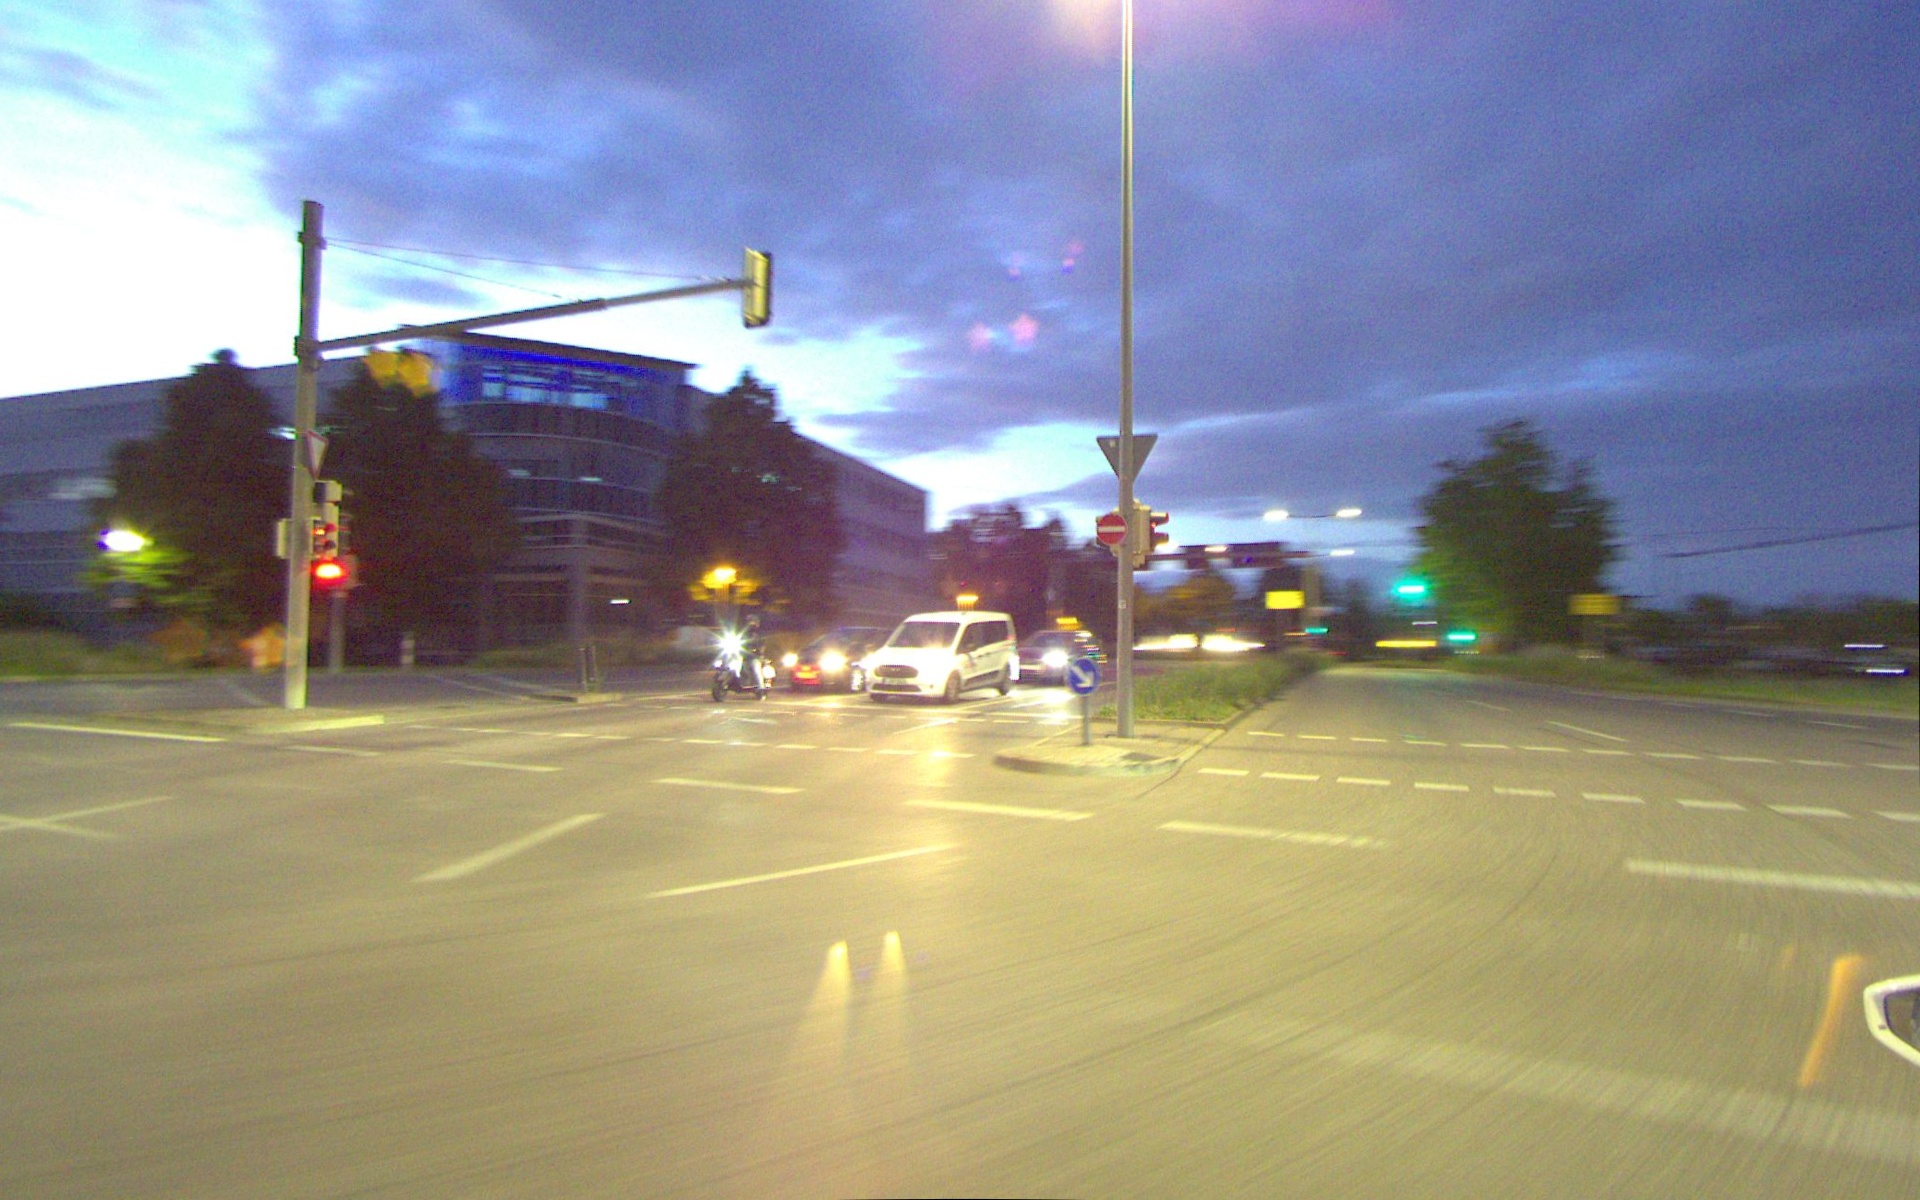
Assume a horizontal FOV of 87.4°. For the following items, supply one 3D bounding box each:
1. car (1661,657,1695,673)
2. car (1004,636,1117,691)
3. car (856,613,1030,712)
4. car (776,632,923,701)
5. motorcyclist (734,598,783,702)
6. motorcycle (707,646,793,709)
[{"bbox_3d":[98.389,8.925,137.660,3.940,2.040,1.991,1,-1,-21],"label":"car"},{"bbox_3d":[2.957,1.751,28.510,1.841,1.416,4.836,0,-2,23],"label":"car"},{"bbox_3d":[-0.202,1.255,21.265,1.814,1.838,4.772,-1,-2,24],"label":"car"},{"bbox_3d":[-2.489,1.500,23.486,1.741,1.466,3.778,-1,-2,24],"label":"car"},{"bbox_3d":[-4.059,1.001,20.272,0.625,2.040,0.767,-1,-2,29],"label":"motorcyclist"},{"bbox_3d":[-4.166,1.512,20.061,0.661,1.179,1.805,-1,-2,29],"label":"motorcycle"}]
